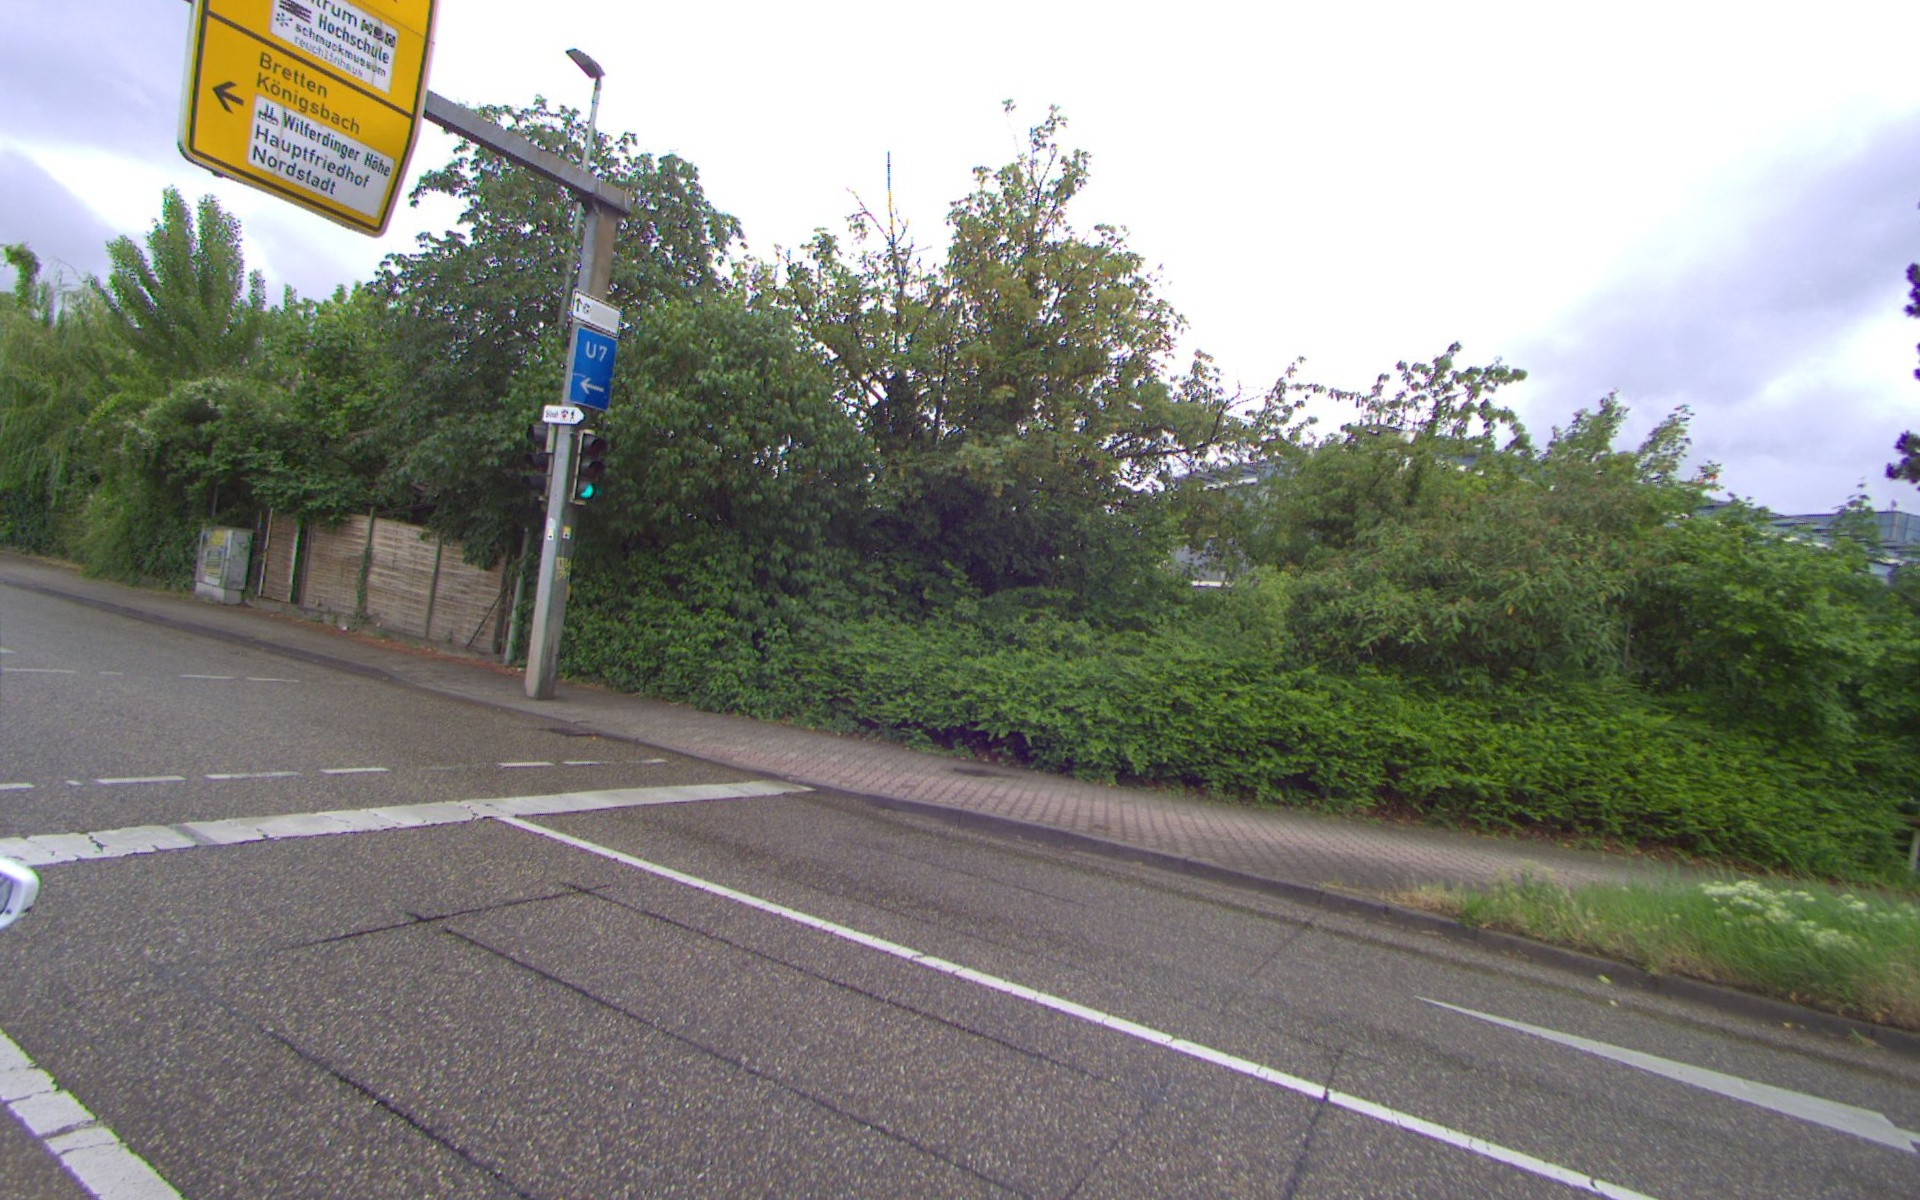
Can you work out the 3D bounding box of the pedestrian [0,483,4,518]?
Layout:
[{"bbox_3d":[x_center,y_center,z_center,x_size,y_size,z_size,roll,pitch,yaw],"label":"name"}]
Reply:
[{"bbox_3d":[-27.091,-2.281,27.778,0.705,2.026,0.657,7,0,28],"label":"pedestrian"}]

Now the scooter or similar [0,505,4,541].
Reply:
[{"bbox_3d":[-27.052,-1.990,27.767,1.361,1.378,0.462,7,0,28],"label":"scooter or similar"}]
